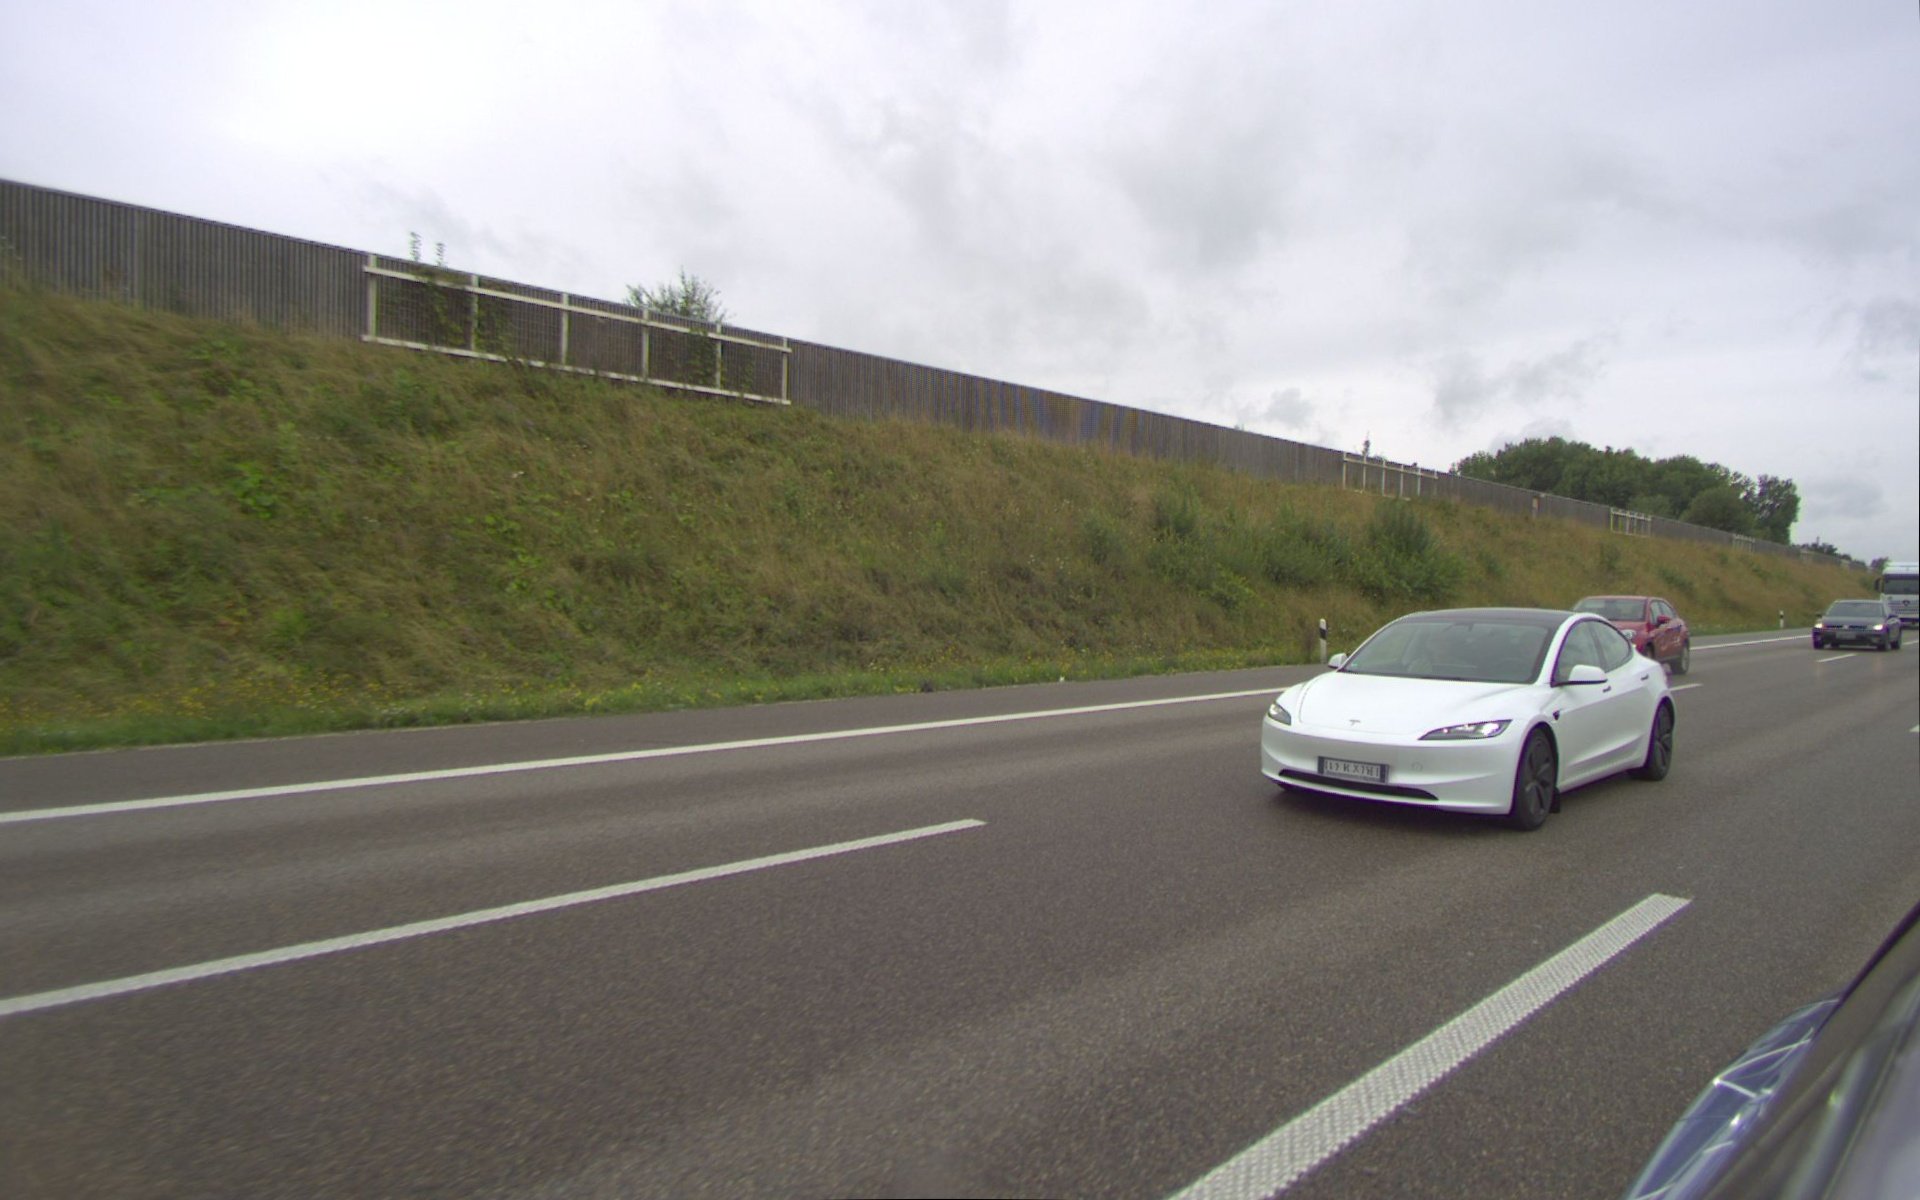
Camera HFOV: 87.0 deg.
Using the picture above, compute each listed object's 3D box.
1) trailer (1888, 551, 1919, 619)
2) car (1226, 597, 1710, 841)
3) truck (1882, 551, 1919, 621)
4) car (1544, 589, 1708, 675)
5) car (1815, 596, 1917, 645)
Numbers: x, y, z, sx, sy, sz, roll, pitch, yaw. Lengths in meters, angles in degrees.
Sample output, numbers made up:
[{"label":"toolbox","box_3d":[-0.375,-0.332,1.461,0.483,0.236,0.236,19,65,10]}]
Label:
[{"label":"trailer","box_3d":[63.297,-0.969,65.790,14.964,4.077,3.085,-1,0,-43]},{"label":"car","box_3d":[4.305,0.685,8.167,4.730,1.380,1.876,-1,0,-41]},{"label":"truck","box_3d":[57.911,-0.837,60.818,6.838,4.077,3.085,-1,0,-42]},{"label":"car","box_3d":[13.488,0.555,20.420,3.932,1.554,1.876,-1,0,-42]},{"label":"car","box_3d":[29.883,0.620,33.332,4.406,1.508,1.928,-1,0,-40]}]
